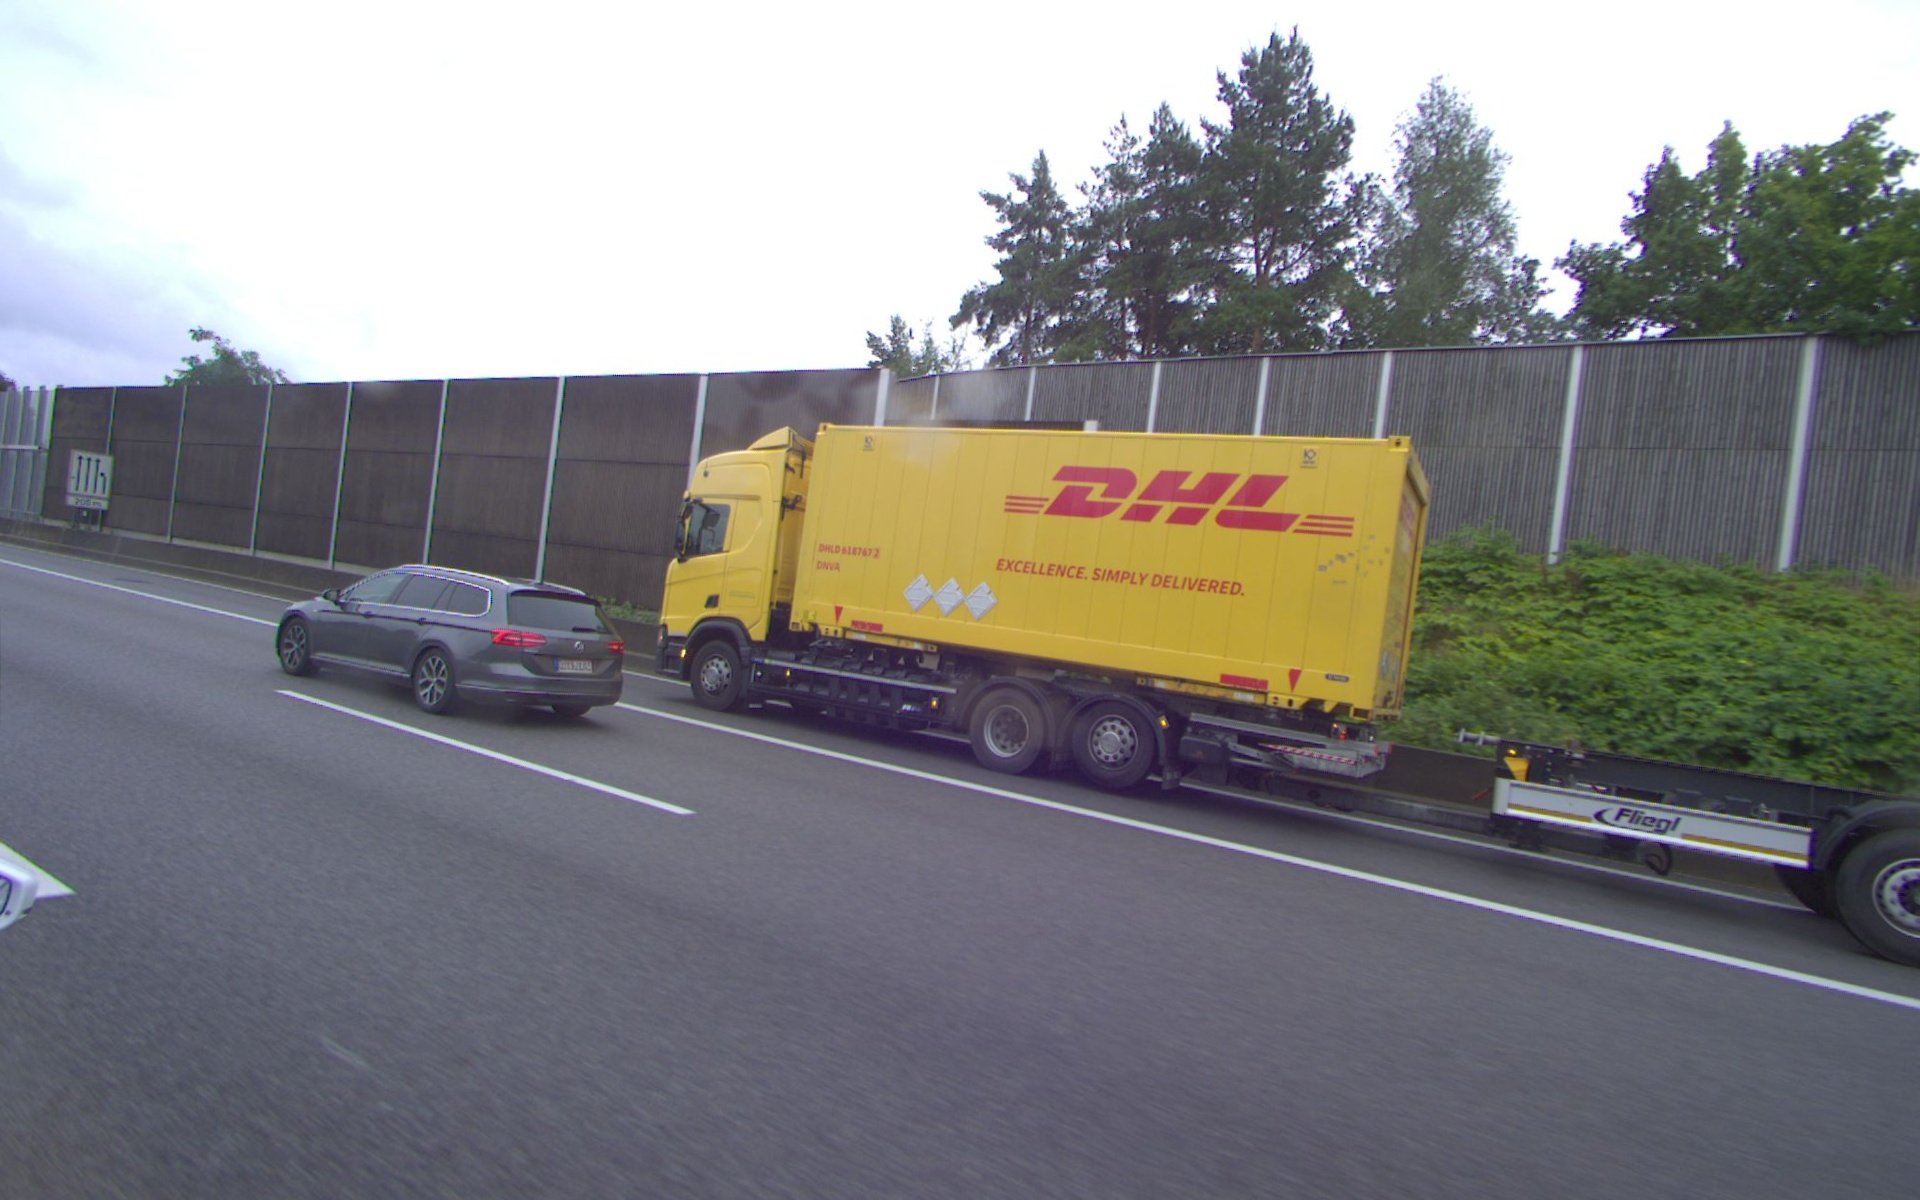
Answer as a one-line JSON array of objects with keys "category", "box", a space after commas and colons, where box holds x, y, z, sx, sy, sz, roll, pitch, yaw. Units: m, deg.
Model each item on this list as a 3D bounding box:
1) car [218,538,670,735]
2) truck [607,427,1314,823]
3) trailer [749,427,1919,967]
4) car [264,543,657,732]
[{"category": "car", "box": [-5.926, 0.357, 11.348, 5.200, 1.443, 1.945, 7, -2, 31]}, {"category": "truck", "box": [-0.391, -0.006, 13.757, 9.170, 4.003, 2.692, 6, -2, 31]}, {"category": "trailer", "box": [5.087, 0.571, 10.452, 16.406, 3.998, 2.657, 6, -2, 31]}, {"category": "car", "box": [-5.605, 0.368, 11.131, 4.396, 1.473, 1.667, 6, -3, 31]}]
